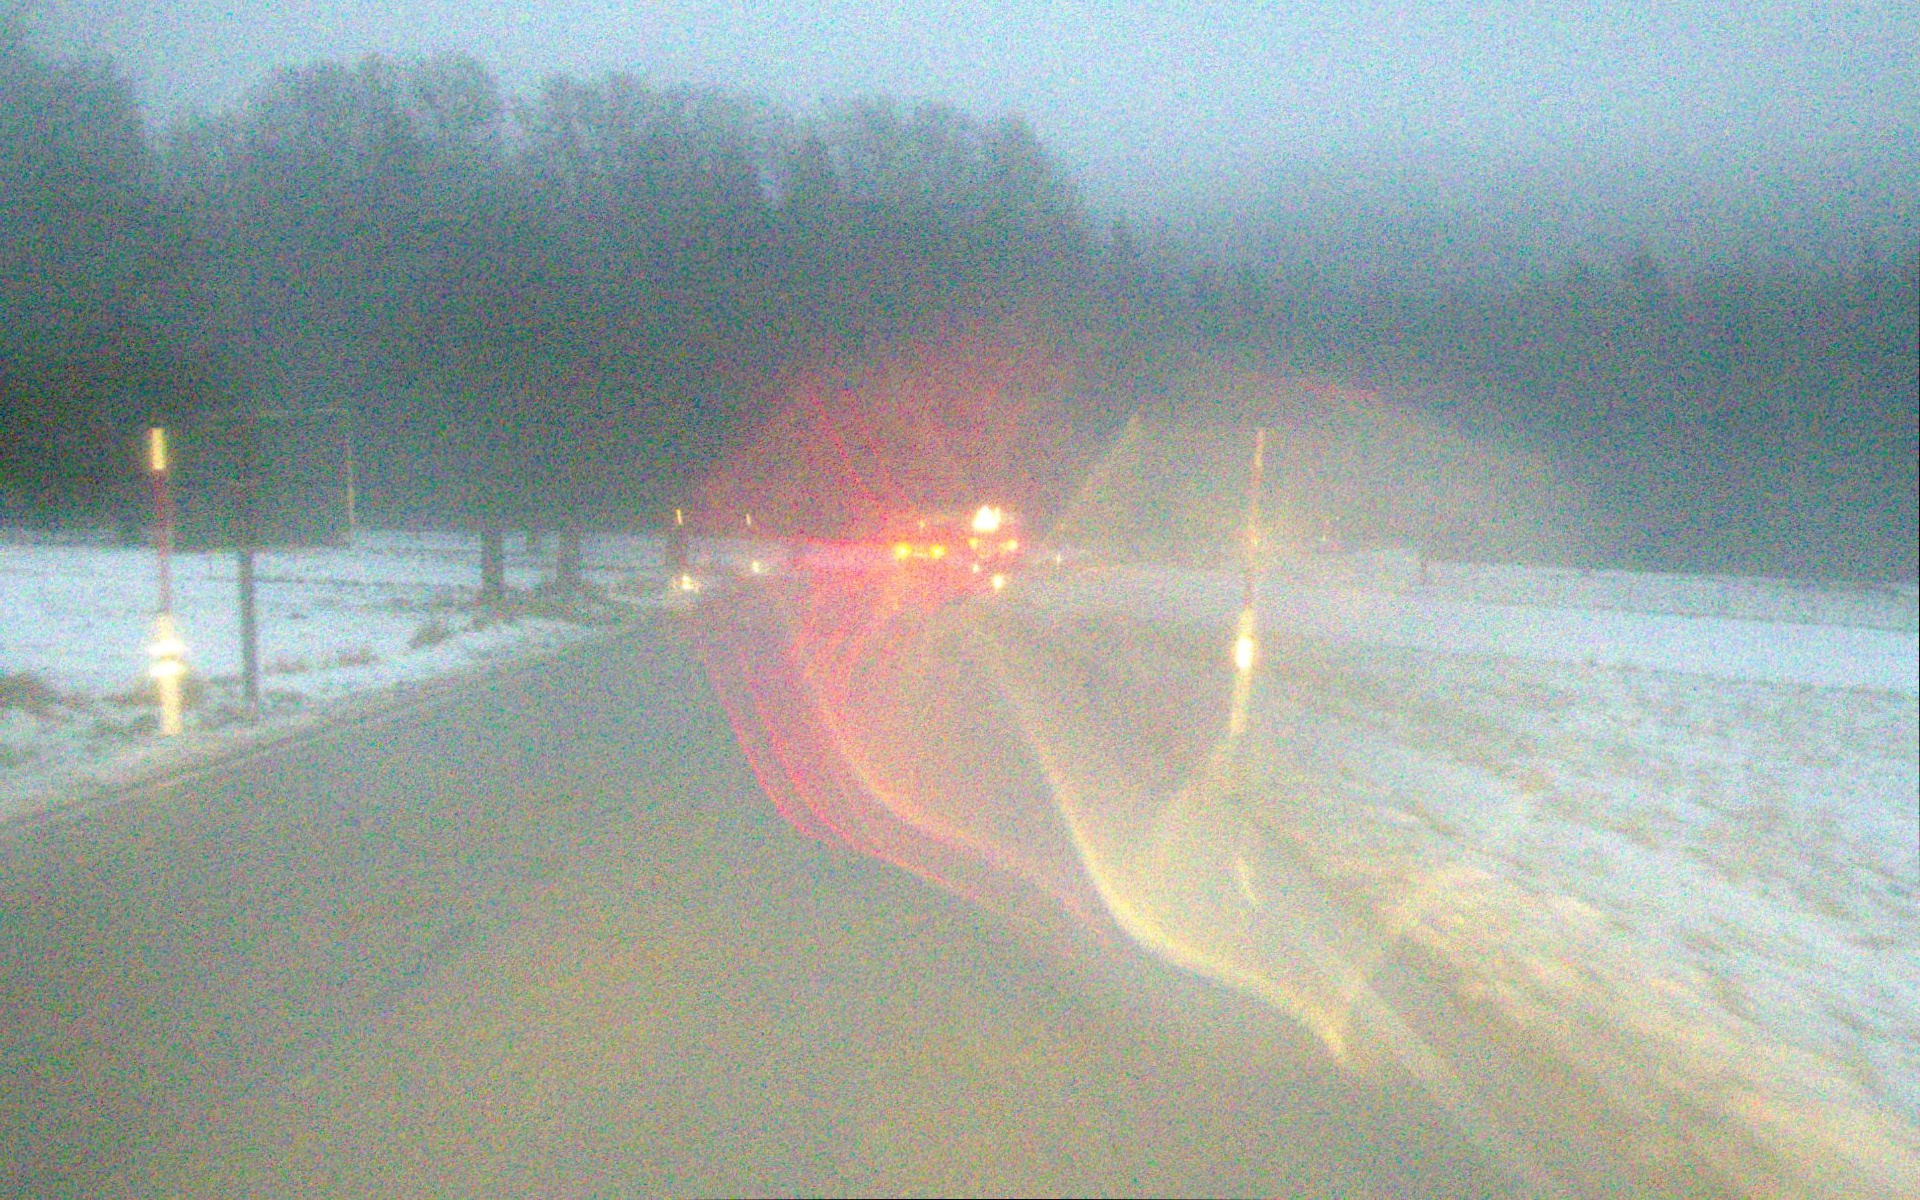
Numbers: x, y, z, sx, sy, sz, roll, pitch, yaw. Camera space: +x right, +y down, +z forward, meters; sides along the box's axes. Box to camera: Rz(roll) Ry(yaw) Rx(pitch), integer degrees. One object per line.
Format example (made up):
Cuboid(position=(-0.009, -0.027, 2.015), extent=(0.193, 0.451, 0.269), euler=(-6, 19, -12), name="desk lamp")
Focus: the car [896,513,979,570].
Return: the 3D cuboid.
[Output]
Cuboid(position=(-0.827, -2.218, 131.169), extent=(1.995, 2.045, 3.997), euler=(2, 0, 17), name="car")
